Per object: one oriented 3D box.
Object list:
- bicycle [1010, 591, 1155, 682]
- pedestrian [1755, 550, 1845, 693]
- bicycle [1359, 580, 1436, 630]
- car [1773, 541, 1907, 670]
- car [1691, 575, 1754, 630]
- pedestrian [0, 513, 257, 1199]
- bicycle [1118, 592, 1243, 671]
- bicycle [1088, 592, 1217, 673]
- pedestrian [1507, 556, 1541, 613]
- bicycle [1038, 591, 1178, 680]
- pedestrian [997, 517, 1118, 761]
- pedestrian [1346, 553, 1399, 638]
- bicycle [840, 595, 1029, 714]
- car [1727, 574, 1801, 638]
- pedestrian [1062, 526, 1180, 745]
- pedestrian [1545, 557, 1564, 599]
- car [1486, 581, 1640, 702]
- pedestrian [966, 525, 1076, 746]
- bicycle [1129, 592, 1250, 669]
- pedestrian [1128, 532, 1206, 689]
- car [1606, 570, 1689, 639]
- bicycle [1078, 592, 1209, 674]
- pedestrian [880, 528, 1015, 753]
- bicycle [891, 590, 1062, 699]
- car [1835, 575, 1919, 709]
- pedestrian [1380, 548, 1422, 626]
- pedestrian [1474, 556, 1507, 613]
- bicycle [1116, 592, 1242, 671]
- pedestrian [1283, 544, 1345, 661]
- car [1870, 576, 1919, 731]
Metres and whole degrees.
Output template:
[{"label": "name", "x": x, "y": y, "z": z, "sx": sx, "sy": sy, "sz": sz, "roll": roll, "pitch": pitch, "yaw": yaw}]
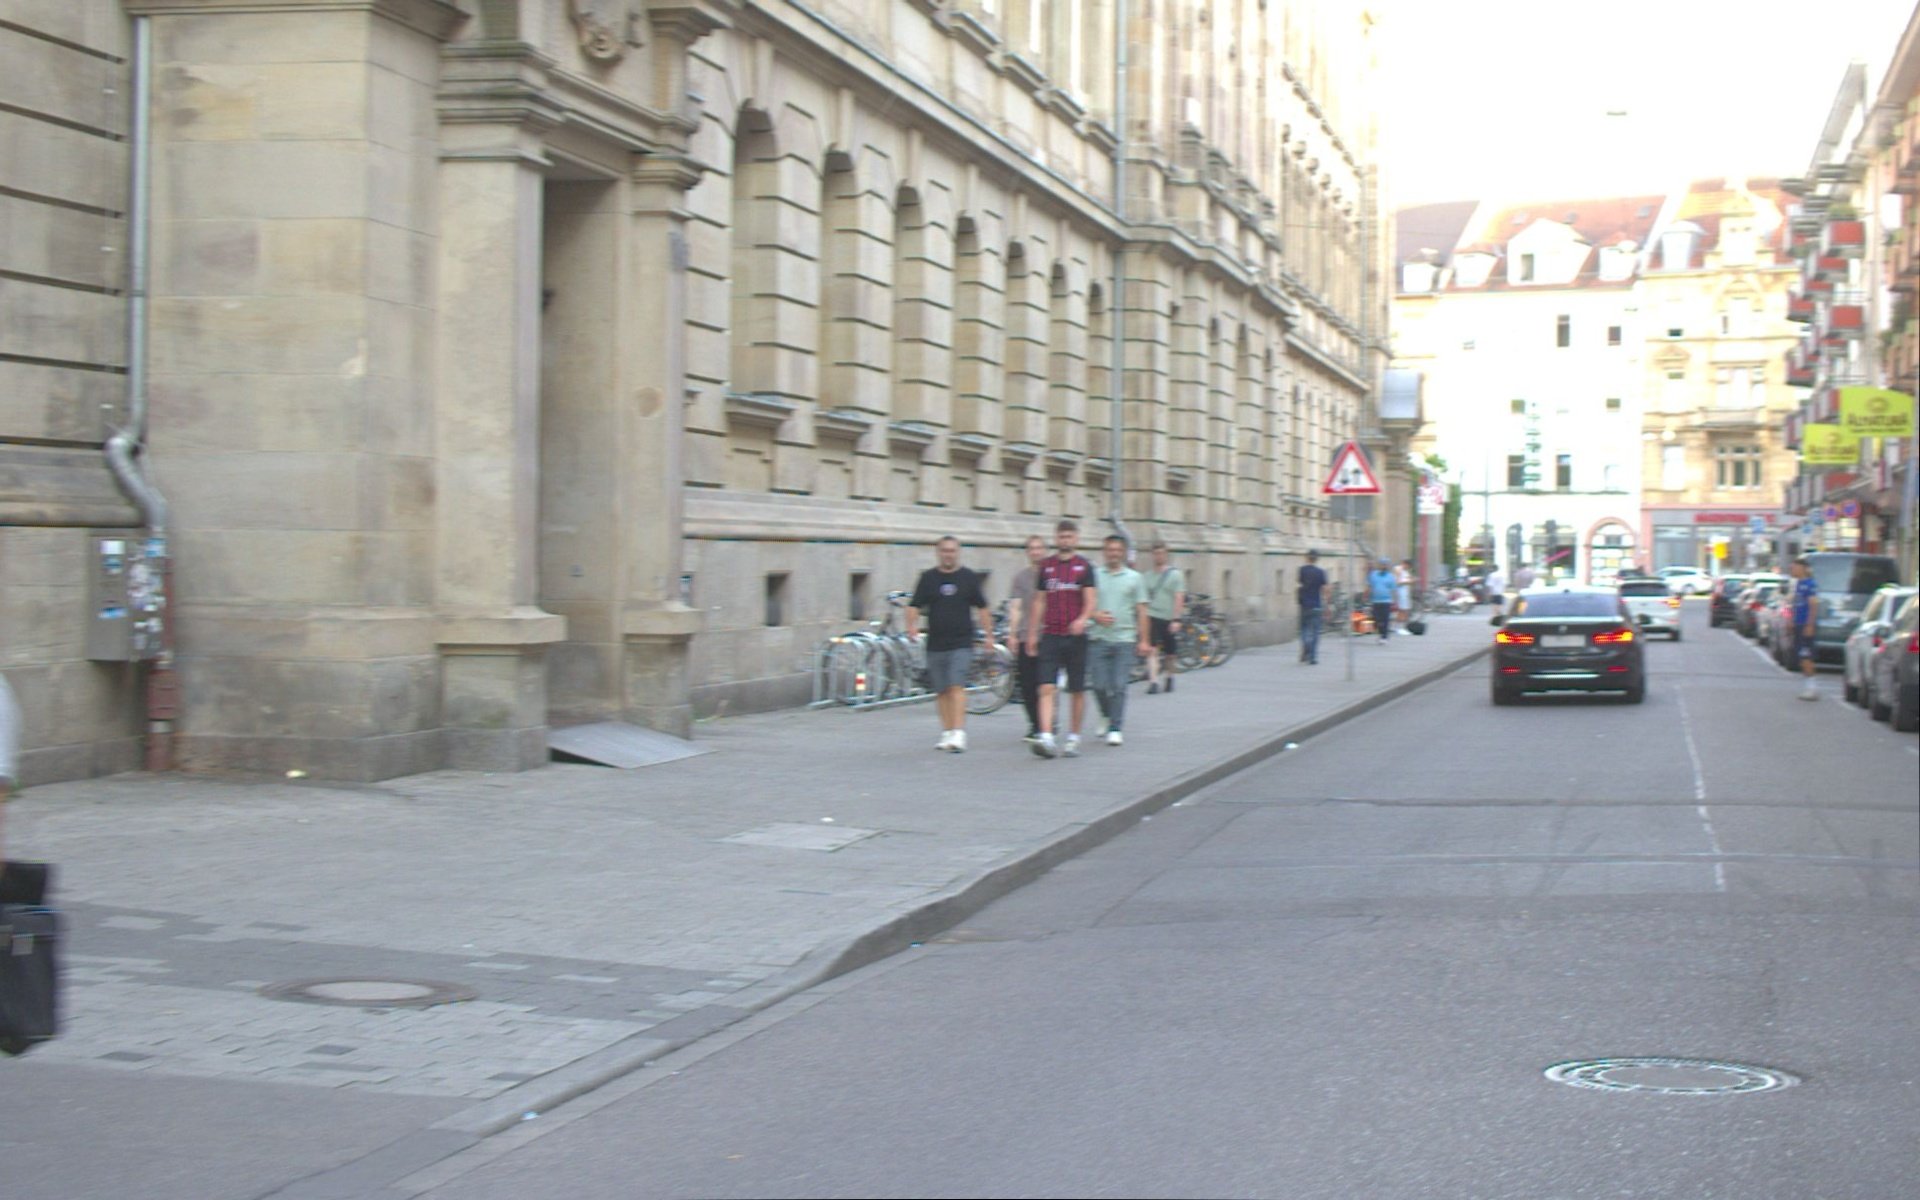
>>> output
[{"label": "bicycle", "x": 1.504, "y": 0.446, "z": 42.149, "sx": 1.680, "sy": 1.038, "sz": 0.487, "roll": 2, "pitch": 1, "yaw": 10}, {"label": "pedestrian", "x": 10.564, "y": 0.263, "z": 43.243, "sx": 0.820, "sy": 1.785, "sz": 0.726, "roll": 0, "pitch": 1, "yaw": -27}, {"label": "bicycle", "x": 10.209, "y": 0.112, "z": 80.142, "sx": 1.680, "sy": 1.037, "sz": 0.487, "roll": 4, "pitch": 1, "yaw": 12}, {"label": "car", "x": 14.757, "y": 0.068, "z": 57.794, "sx": 1.871, "sy": 2.011, "sz": 3.764, "roll": 3, "pitch": 1, "yaw": 11}, {"label": "car", "x": 22.519, "y": 0.047, "z": 101.596, "sx": 1.645, "sy": 1.518, "sz": 3.283, "roll": 3, "pitch": 1, "yaw": 11}, {"label": "pedestrian", "x": -1.728, "y": 0.686, "z": 5.709, "sx": 0.731, "sy": 1.641, "sz": 0.871, "roll": 0, "pitch": 0, "yaw": 21}, {"label": "bicycle", "x": 3.135, "y": 0.439, "z": 48.817, "sx": 1.680, "sy": 1.038, "sz": 0.487, "roll": 2, "pitch": 1, "yaw": 10}, {"label": "bicycle", "x": 2.641, "y": 0.440, "z": 47.084, "sx": 1.680, "sy": 1.038, "sz": 0.487, "roll": 2, "pitch": 1, "yaw": 10}, {"label": "pedestrian", "x": 17.876, "y": -0.486, "z": 109.020, "sx": 0.933, "sy": 1.746, "sz": 0.810, "roll": 4, "pitch": 1, "yaw": 8}, {"label": "bicycle", "x": 1.867, "y": 0.445, "z": 43.370, "sx": 1.680, "sy": 1.038, "sz": 0.487, "roll": 2, "pitch": 1, "yaw": 10}, {"label": "pedestrian", "x": 0.764, "y": 0.288, "z": 26.555, "sx": 0.698, "sy": 1.806, "sz": 0.974, "roll": 4, "pitch": 1, "yaw": 9}, {"label": "pedestrian", "x": 8.329, "y": -0.095, "z": 69.448, "sx": 0.934, "sy": 1.631, "sz": 0.654, "roll": 4, "pitch": 1, "yaw": 9}, {"label": "bicycle", "x": -0.238, "y": 0.505, "z": 32.545, "sx": 1.681, "sy": 1.038, "sz": 0.487, "roll": 3, "pitch": 1, "yaw": 17}, {"label": "car", "x": 20.387, "y": 0.144, "z": 87.254, "sx": 1.645, "sy": 1.518, "sz": 3.283, "roll": 3, "pitch": 1, "yaw": 11}, {"label": "pedestrian", "x": 1.339, "y": 0.287, "z": 28.492, "sx": 0.787, "sy": 1.746, "sz": 0.721, "roll": 4, "pitch": 1, "yaw": 9}, {"label": "pedestrian", "x": 25.085, "y": -0.926, "z": 145.003, "sx": 0.666, "sy": 1.746, "sz": 0.681, "roll": 4, "pitch": 1, "yaw": 8}, {"label": "car", "x": 7.407, "y": 0.478, "z": 42.140, "sx": 1.770, "sy": 1.404, "sz": 4.050, "roll": 0, "pitch": 0, "yaw": 11}, {"label": "pedestrian", "x": 0.505, "y": 0.280, "z": 28.179, "sx": 0.689, "sy": 1.746, "sz": 0.721, "roll": 4, "pitch": 1, "yaw": 9}, {"label": "bicycle", "x": 3.345, "y": 0.437, "z": 50.086, "sx": 1.680, "sy": 1.038, "sz": 0.487, "roll": 2, "pitch": 1, "yaw": 10}, {"label": "pedestrian", "x": 2.388, "y": 0.117, "z": 39.618, "sx": 0.719, "sy": 1.746, "sz": 0.668, "roll": 4, "pitch": 1, "yaw": 9}, {"label": "car", "x": 16.004, "y": 0.088, "z": 80.164, "sx": 1.795, "sy": 1.505, "sz": 3.998, "roll": 1, "pitch": 1, "yaw": 10}, {"label": "bicycle", "x": 2.494, "y": 0.440, "z": 46.650, "sx": 1.680, "sy": 1.038, "sz": 0.487, "roll": 2, "pitch": 1, "yaw": 10}, {"label": "pedestrian", "x": -0.092, "y": 0.303, "z": 26.764, "sx": 0.797, "sy": 1.669, "sz": 0.974, "roll": 4, "pitch": 1, "yaw": 9}, {"label": "bicycle", "x": 0.169, "y": 0.455, "z": 35.352, "sx": 1.679, "sy": 1.038, "sz": 0.487, "roll": 2, "pitch": 1, "yaw": -6}, {"label": "car", "x": 11.544, "y": 0.497, "z": 41.508, "sx": 1.645, "sy": 1.518, "sz": 3.283, "roll": 3, "pitch": 1, "yaw": 11}, {"label": "pedestrian", "x": 10.175, "y": -0.299, "z": 79.356, "sx": 0.808, "sy": 1.746, "sz": 0.936, "roll": 4, "pitch": 1, "yaw": 10}, {"label": "pedestrian", "x": 16.788, "y": -0.495, "z": 108.816, "sx": 0.933, "sy": 1.746, "sz": 0.810, "roll": 4, "pitch": 1, "yaw": 8}, {"label": "bicycle", "x": 3.086, "y": 0.440, "z": 48.353, "sx": 1.680, "sy": 1.038, "sz": 0.487, "roll": 2, "pitch": 1, "yaw": 10}, {"label": "pedestrian", "x": 5.499, "y": 0.035, "z": 53.369, "sx": 0.804, "sy": 1.746, "sz": 0.810, "roll": 4, "pitch": 1, "yaw": 9}, {"label": "car", "x": 10.393, "y": 0.548, "z": 35.498, "sx": 1.645, "sy": 1.518, "sz": 3.283, "roll": 3, "pitch": 1, "yaw": 11}]
